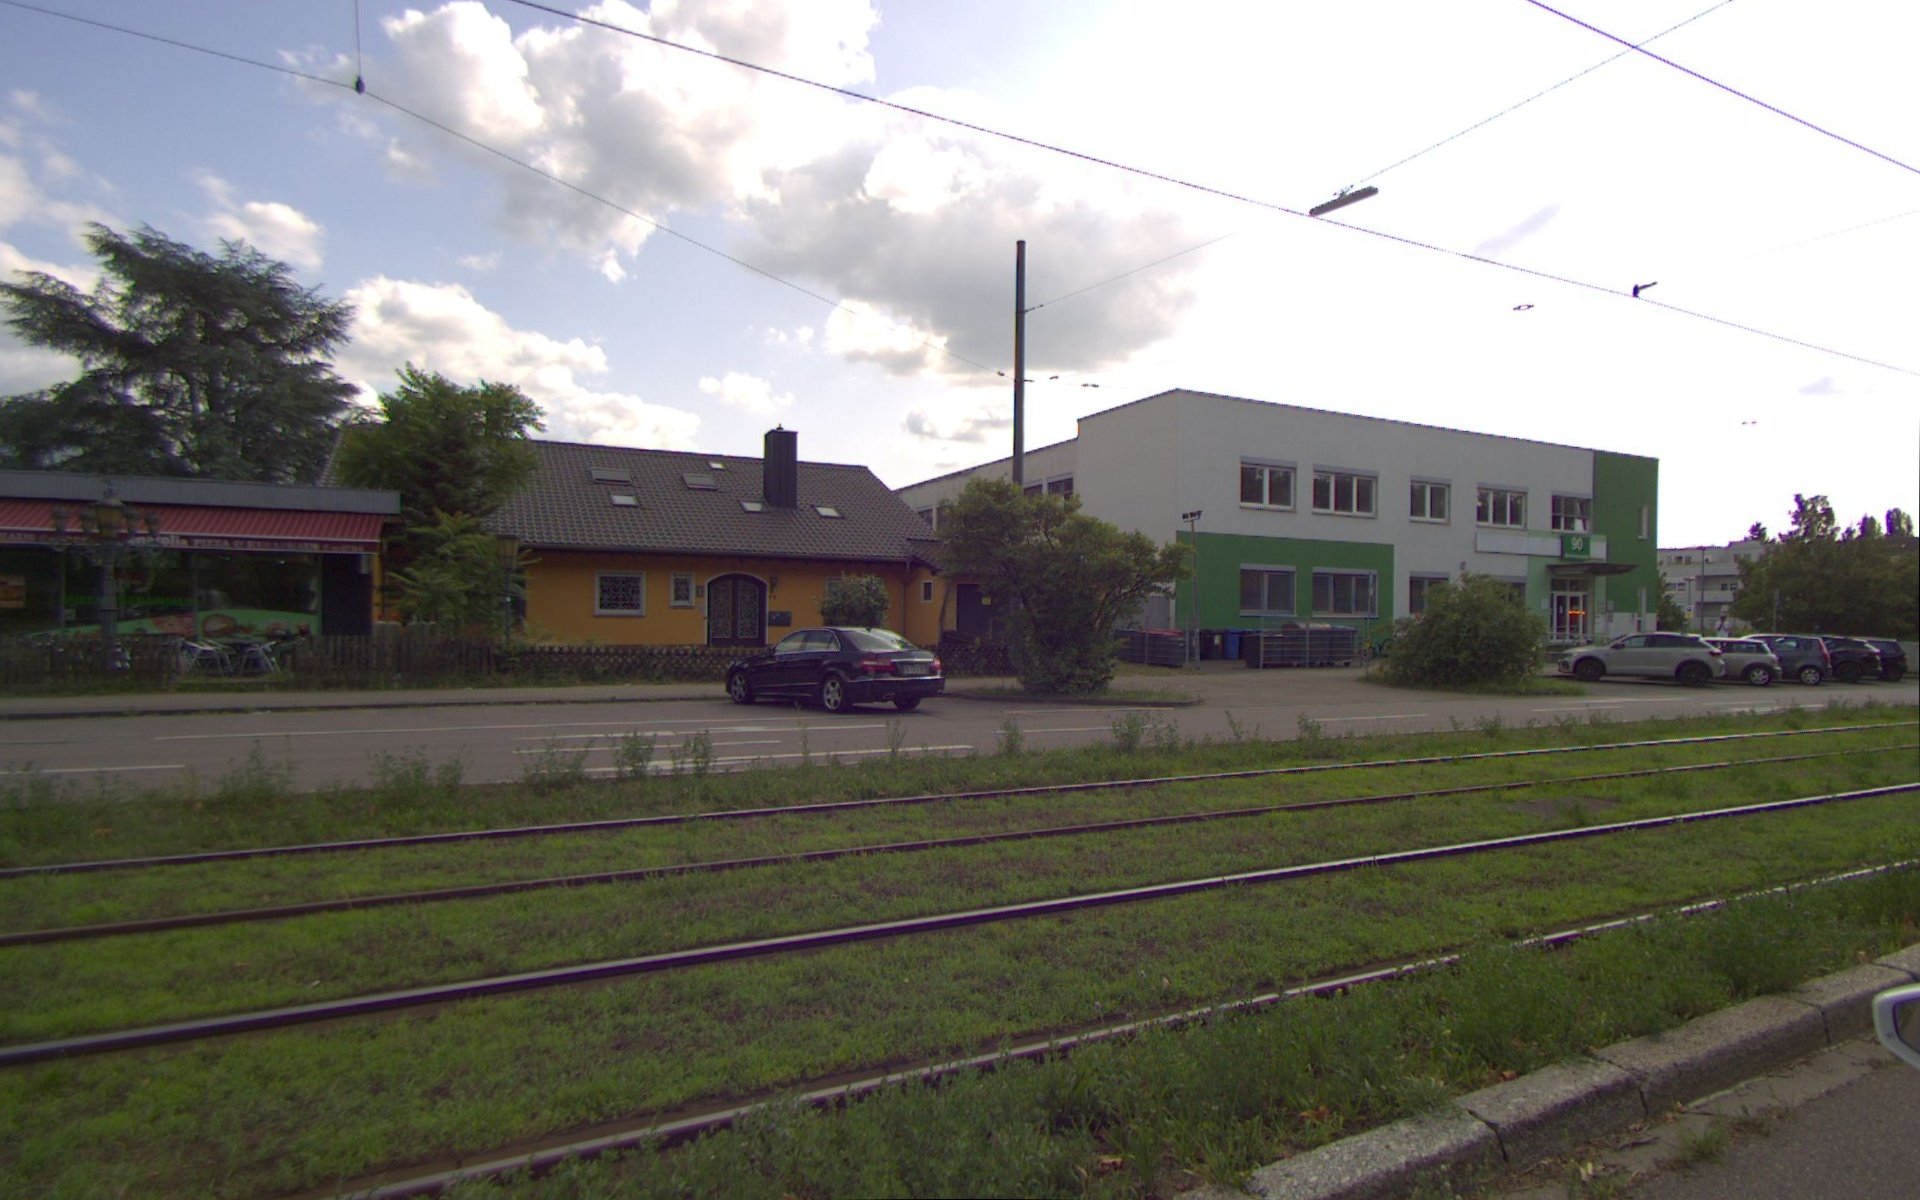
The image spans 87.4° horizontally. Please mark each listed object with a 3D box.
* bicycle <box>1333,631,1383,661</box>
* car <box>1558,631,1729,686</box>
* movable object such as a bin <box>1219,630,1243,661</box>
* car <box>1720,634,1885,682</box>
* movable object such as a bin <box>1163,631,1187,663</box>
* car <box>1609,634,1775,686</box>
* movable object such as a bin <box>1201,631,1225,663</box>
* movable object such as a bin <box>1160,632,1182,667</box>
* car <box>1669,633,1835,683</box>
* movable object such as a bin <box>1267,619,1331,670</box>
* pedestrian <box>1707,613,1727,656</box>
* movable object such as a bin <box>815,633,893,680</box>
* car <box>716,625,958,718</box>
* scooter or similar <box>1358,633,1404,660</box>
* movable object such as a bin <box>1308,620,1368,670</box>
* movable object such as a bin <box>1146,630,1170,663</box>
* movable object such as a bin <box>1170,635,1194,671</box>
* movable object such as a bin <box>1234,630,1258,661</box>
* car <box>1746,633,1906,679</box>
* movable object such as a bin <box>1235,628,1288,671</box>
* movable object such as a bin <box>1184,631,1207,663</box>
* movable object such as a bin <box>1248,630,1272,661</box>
[{"bbox_3d":[14.613,1.680,36.927,0.452,0.999,1.852,2,0,-25],"label":"bicycle"},{"bbox_3d":[20.631,1.726,30.554,4.160,1.501,1.880,0,-1,30],"label":"car"},{"bbox_3d":[9.444,1.572,35.013,0.557,1.056,0.566,0,1,-25],"label":"movable object such as a bin"},{"bbox_3d":[28.706,1.945,34.413,4.165,1.501,1.877,0,-1,35],"label":"car"},{"bbox_3d":[7.262,1.581,33.955,0.557,1.056,0.566,0,1,-25],"label":"movable object such as a bin"},{"bbox_3d":[23.157,1.849,31.964,4.165,1.501,1.877,0,-1,35],"label":"car"},{"bbox_3d":[8.749,1.606,34.687,0.557,1.056,0.566,0,1,-25],"label":"movable object such as a bin"},{"bbox_3d":[6.560,1.528,31.243,0.473,1.056,0.491,0,1,-26],"label":"movable object such as a bin"},{"bbox_3d":[25.959,1.873,33.119,4.165,1.501,1.877,0,-1,35],"label":"car"},{"bbox_3d":[10.832,1.400,32.117,1.687,1.540,1.003,0,1,-24],"label":"movable object such as a bin"},{"bbox_3d":[32.789,1.487,43.503,0.502,1.852,0.544,1,-1,-28],"label":"pedestrian"},{"bbox_3d":[-2.643,1.378,24.910,1.597,1.115,1.250,1,-1,-27],"label":"movable object such as a bin"},{"bbox_3d":[-2.326,1.210,18.098,4.588,1.425,1.872,-1,-3,45],"label":"car"},{"bbox_3d":[15.833,1.731,37.793,0.452,0.911,1.730,2,0,-25],"label":"scooter or similar"},{"bbox_3d":[12.348,1.444,32.827,1.582,1.540,1.003,0,1,-24],"label":"movable object such as a bin"},{"bbox_3d":[6.620,1.545,33.613,0.557,1.056,0.566,0,1,-25],"label":"movable object such as a bin"},{"bbox_3d":[6.792,1.608,30.737,0.475,1.056,0.503,0,1,-26],"label":"movable object such as a bin"},{"bbox_3d":[10.035,1.597,35.274,0.557,1.056,0.566,0,1,-25],"label":"movable object such as a bin"},{"bbox_3d":[31.083,1.980,36.241,4.165,1.501,1.877,0,-1,35],"label":"car"},{"bbox_3d":[9.453,1.530,31.485,1.238,1.251,1.003,0,1,-24],"label":"movable object such as a bin"},{"bbox_3d":[8.058,1.596,34.378,0.557,1.056,0.566,0,1,-25],"label":"movable object such as a bin"},{"bbox_3d":[10.620,1.601,35.567,0.557,1.056,0.566,0,1,-25],"label":"movable object such as a bin"}]
